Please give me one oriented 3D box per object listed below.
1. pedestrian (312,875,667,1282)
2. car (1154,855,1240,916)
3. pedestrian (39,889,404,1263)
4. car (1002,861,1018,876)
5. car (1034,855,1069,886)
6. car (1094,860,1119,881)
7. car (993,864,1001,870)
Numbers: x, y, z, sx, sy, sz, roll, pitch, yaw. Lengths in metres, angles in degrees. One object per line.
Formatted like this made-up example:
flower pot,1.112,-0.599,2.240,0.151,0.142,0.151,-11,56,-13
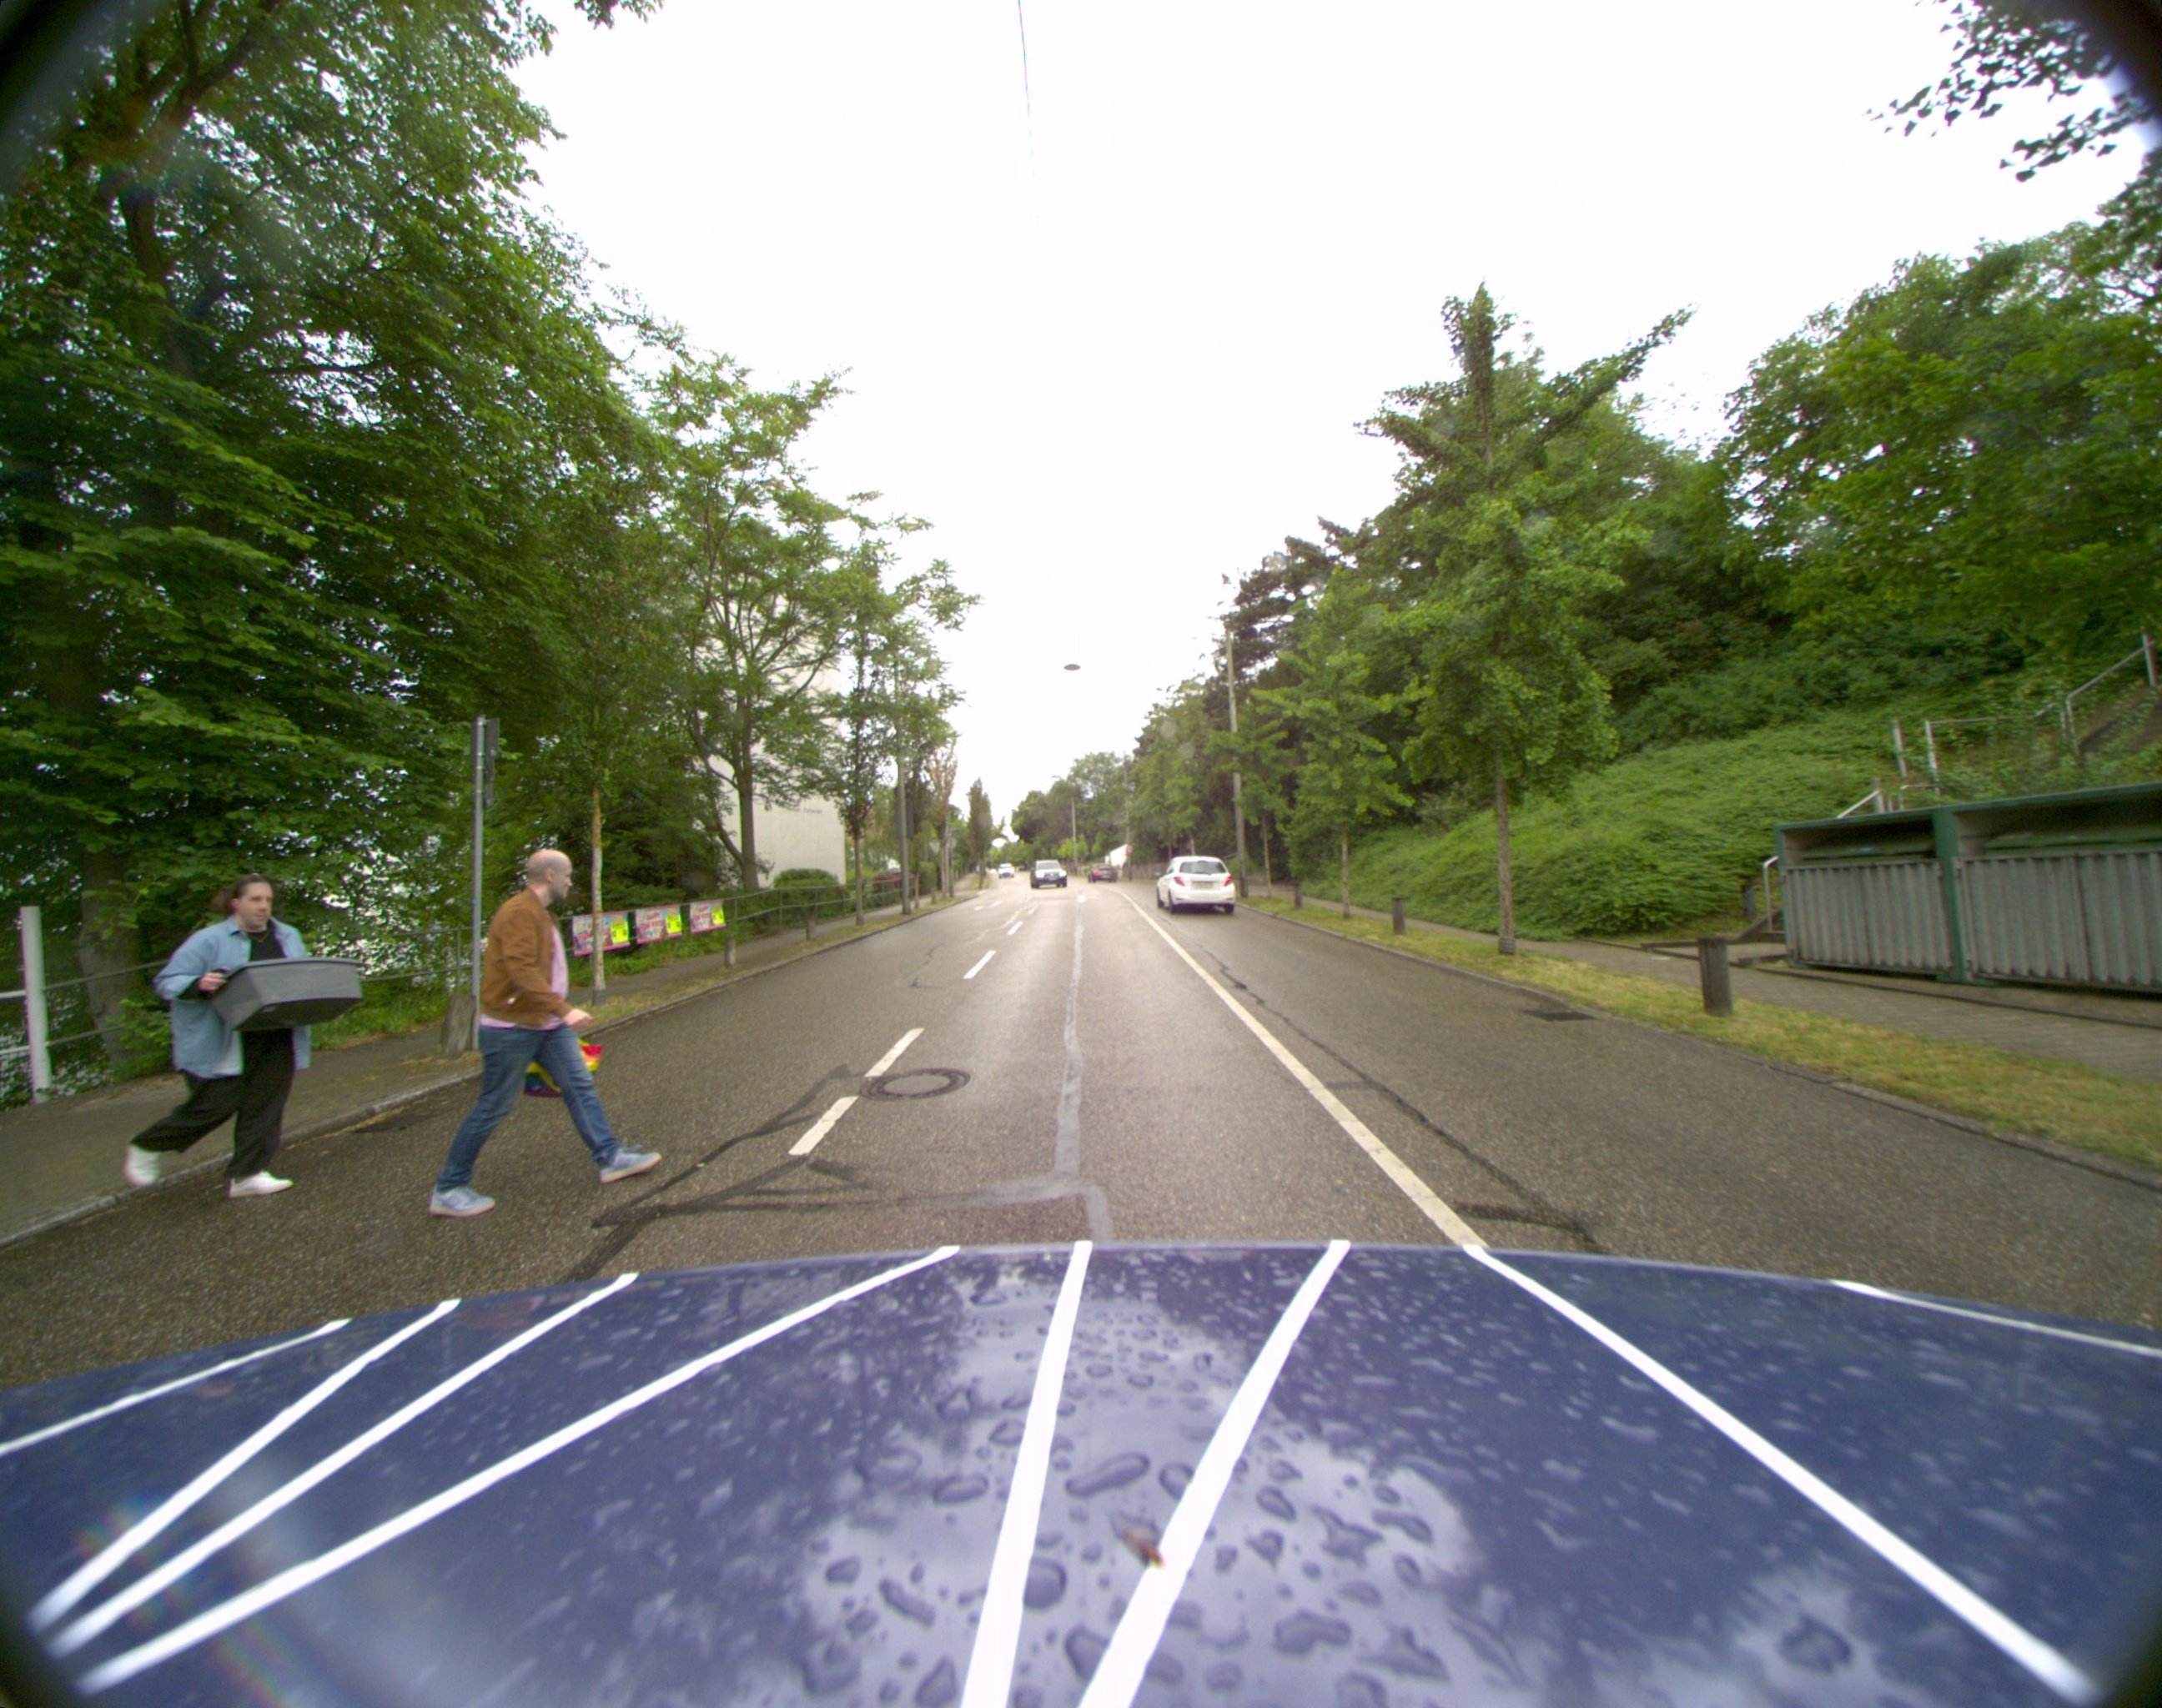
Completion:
pedestrian,-2.855,1.016,3.800,1.072,1.772,0.824,-1,1,-1
car,3.142,0.808,21.275,1.714,1.522,3.841,0,0,-2
pedestrian,-4.701,1.140,4.217,1.071,1.772,0.825,-4,1,14
car,-8.758,1.764,93.680,1.835,1.609,4.349,-3,1,-4
car,-1.715,0.968,45.560,1.834,1.609,4.292,-3,1,0
car,1.896,1.205,57.478,1.782,1.440,4.000,0,0,0
car,-24.556,3.867,221.138,1.892,1.710,4.236,-1,1,-1
